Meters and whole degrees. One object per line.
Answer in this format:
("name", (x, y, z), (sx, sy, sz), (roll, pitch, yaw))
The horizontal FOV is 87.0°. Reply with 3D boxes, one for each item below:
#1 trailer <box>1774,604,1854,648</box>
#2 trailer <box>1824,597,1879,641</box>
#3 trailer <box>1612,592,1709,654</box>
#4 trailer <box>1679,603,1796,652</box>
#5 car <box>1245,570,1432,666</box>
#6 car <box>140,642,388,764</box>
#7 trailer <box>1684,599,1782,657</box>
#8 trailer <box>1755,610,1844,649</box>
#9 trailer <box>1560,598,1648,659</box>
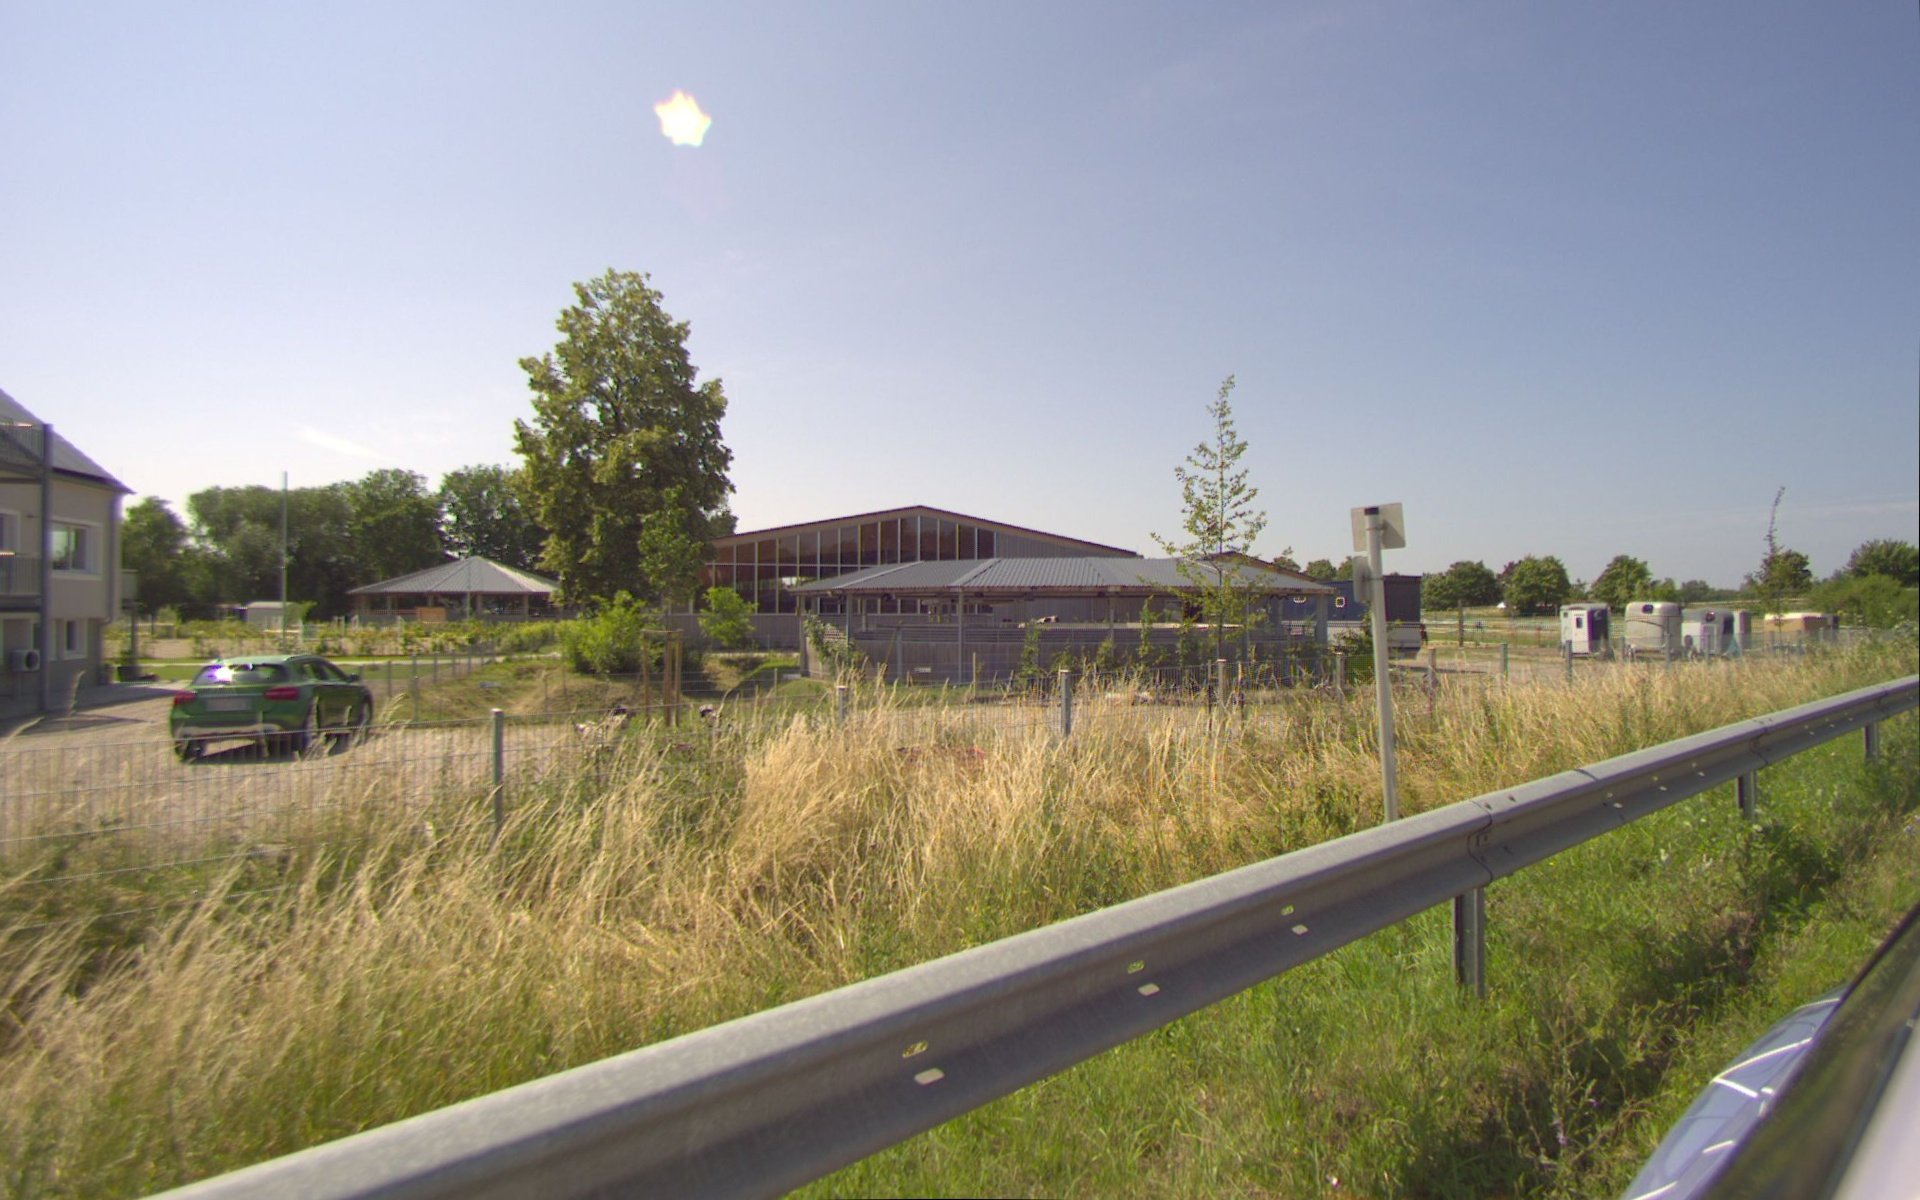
("trailer", (57.160, 1.726, 67.822), (2.120, 2.841, 3.427), (-1, -1, -15))
("trailer", (62.695, 1.344, 71.212), (1.982, 2.843, 3.340), (-7, -6, 30))
("trailer", (34.817, 1.111, 50.466), (2.200, 2.901, 5.025), (0, 0, 12))
("trailer", (45.215, 1.574, 59.058), (2.162, 2.723, 5.197), (0, -1, -12))
("car", (15.947, 0.764, 43.620), (2.721, 3.700, 9.013), (0, -1, -15))
("car", (-11.260, 1.567, 16.784), (1.893, 1.601, 4.380), (-2, -1, -13))
("trailer", (38.206, 1.345, 50.168), (1.796, 2.662, 4.540), (3, -1, 9))
("trailer", (54.288, 1.950, 65.537), (1.966, 2.422, 4.095), (-1, -3, -5))
("trailer", (31.020, 1.283, 48.908), (2.142, 2.703, 4.465), (0, 1, 12))
